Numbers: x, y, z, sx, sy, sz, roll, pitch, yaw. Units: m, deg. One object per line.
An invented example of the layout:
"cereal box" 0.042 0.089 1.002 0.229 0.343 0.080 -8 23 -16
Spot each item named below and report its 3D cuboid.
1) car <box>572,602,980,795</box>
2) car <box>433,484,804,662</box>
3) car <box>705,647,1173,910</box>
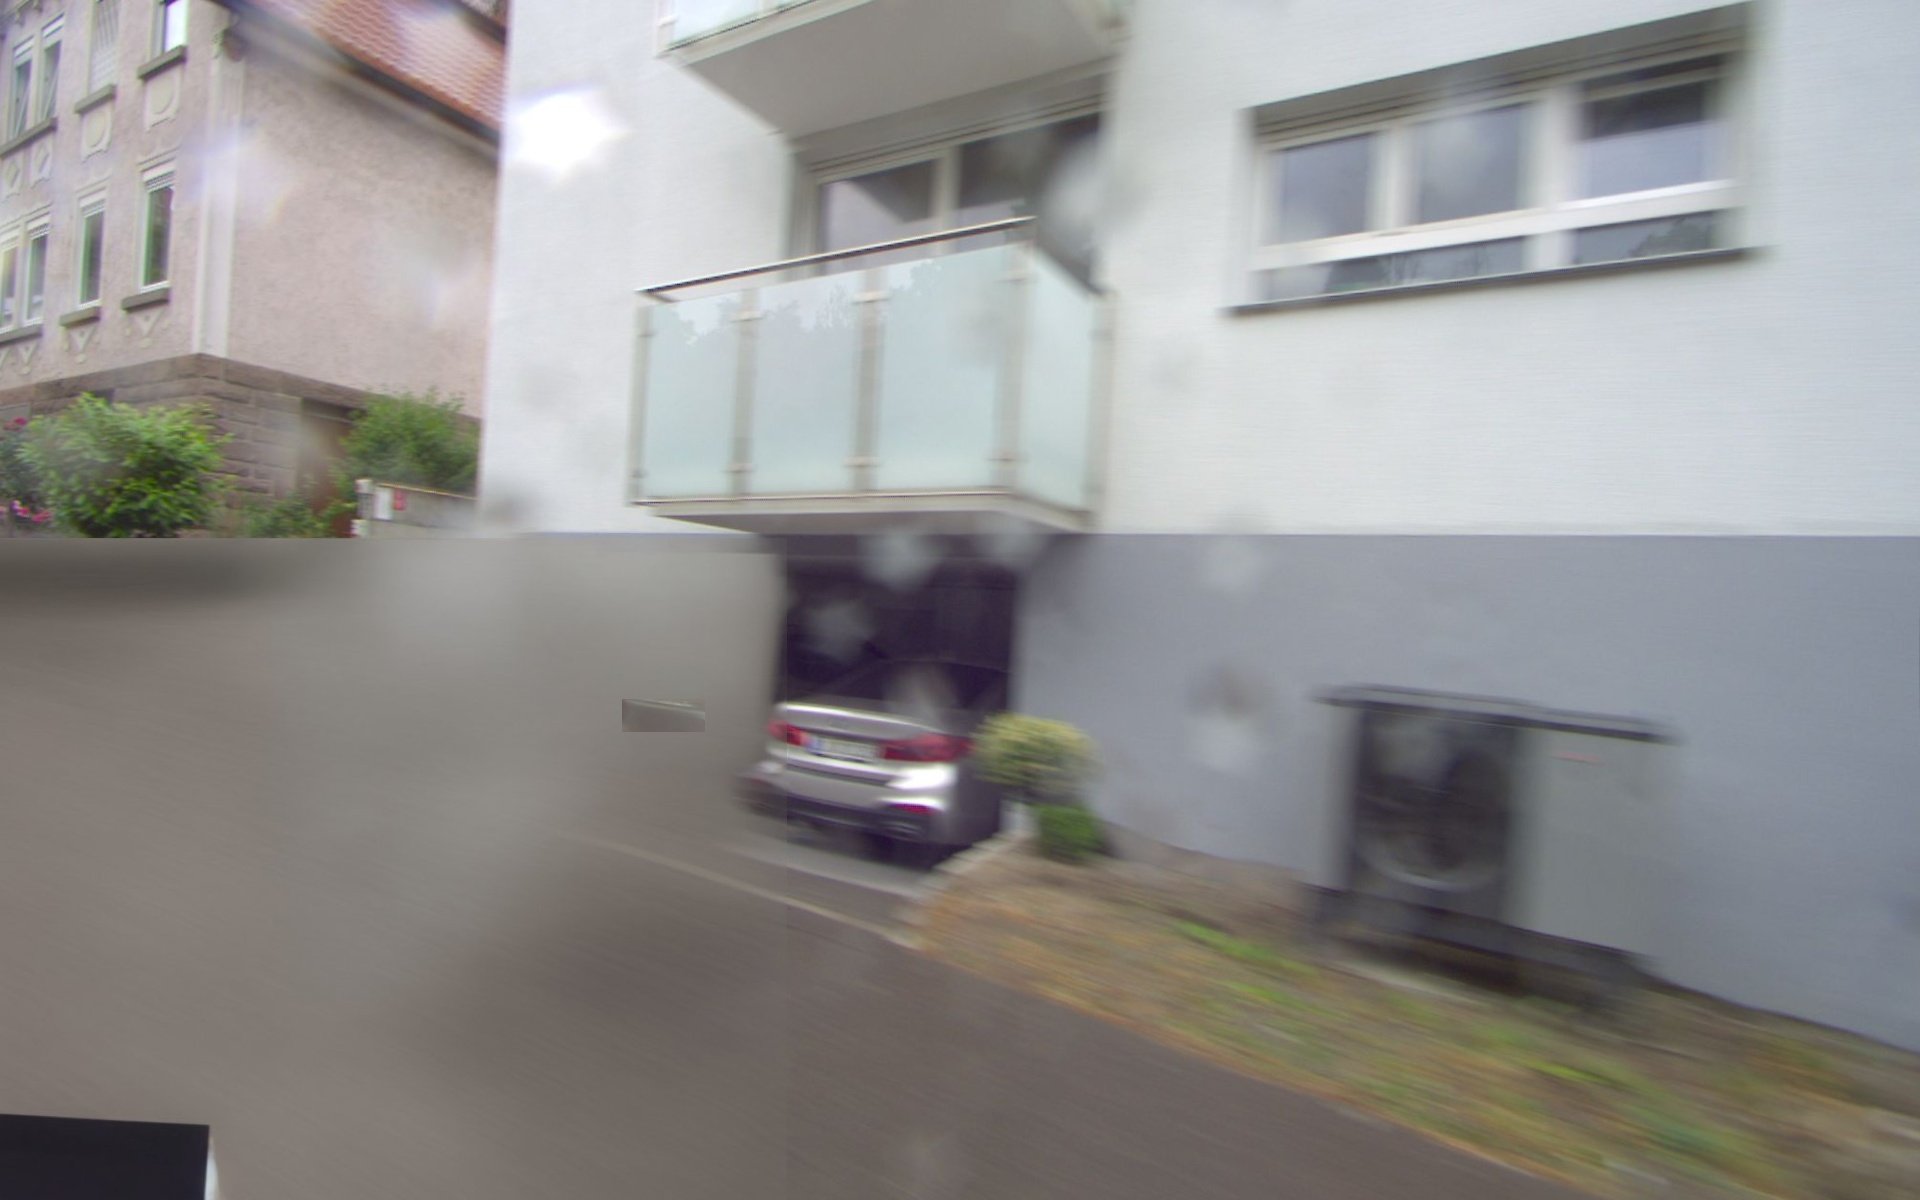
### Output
"car" -1.546 0.920 9.879 1.653 1.320 3.980 7 -1 30
"car" -3.889 -0.205 12.179 1.781 1.605 3.996 7 -1 28
"car" 0.168 1.261 8.391 1.726 1.460 4.476 3 -3 31
